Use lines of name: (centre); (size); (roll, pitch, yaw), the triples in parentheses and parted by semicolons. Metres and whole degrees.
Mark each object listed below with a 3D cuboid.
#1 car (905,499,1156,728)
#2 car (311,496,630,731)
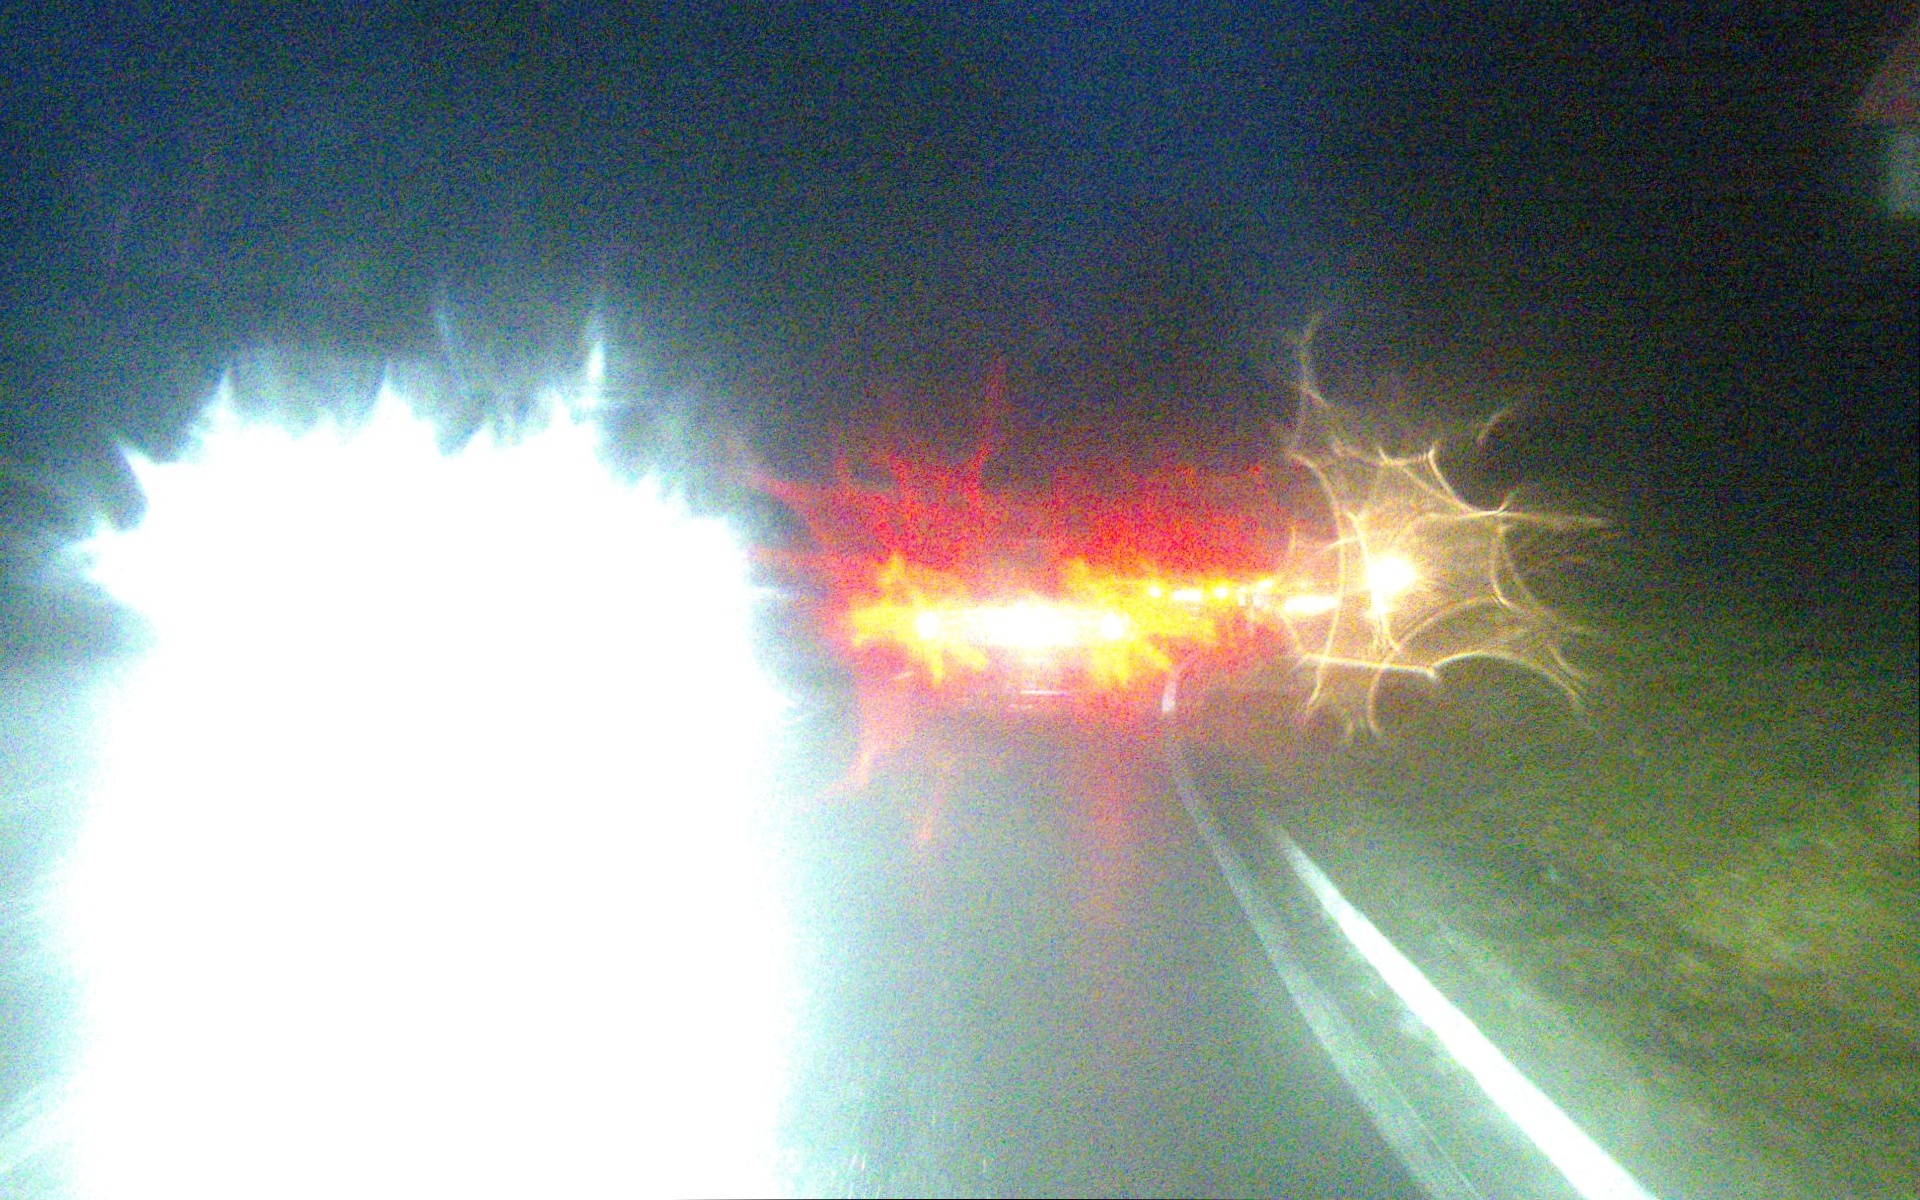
car: (0.574, 0.063, 30.436); (1.993, 1.800, 3.918); (-3, 1, 0)
car: (-3.770, 0.048, 27.117); (1.842, 1.714, 3.960); (0, 1, 1)
